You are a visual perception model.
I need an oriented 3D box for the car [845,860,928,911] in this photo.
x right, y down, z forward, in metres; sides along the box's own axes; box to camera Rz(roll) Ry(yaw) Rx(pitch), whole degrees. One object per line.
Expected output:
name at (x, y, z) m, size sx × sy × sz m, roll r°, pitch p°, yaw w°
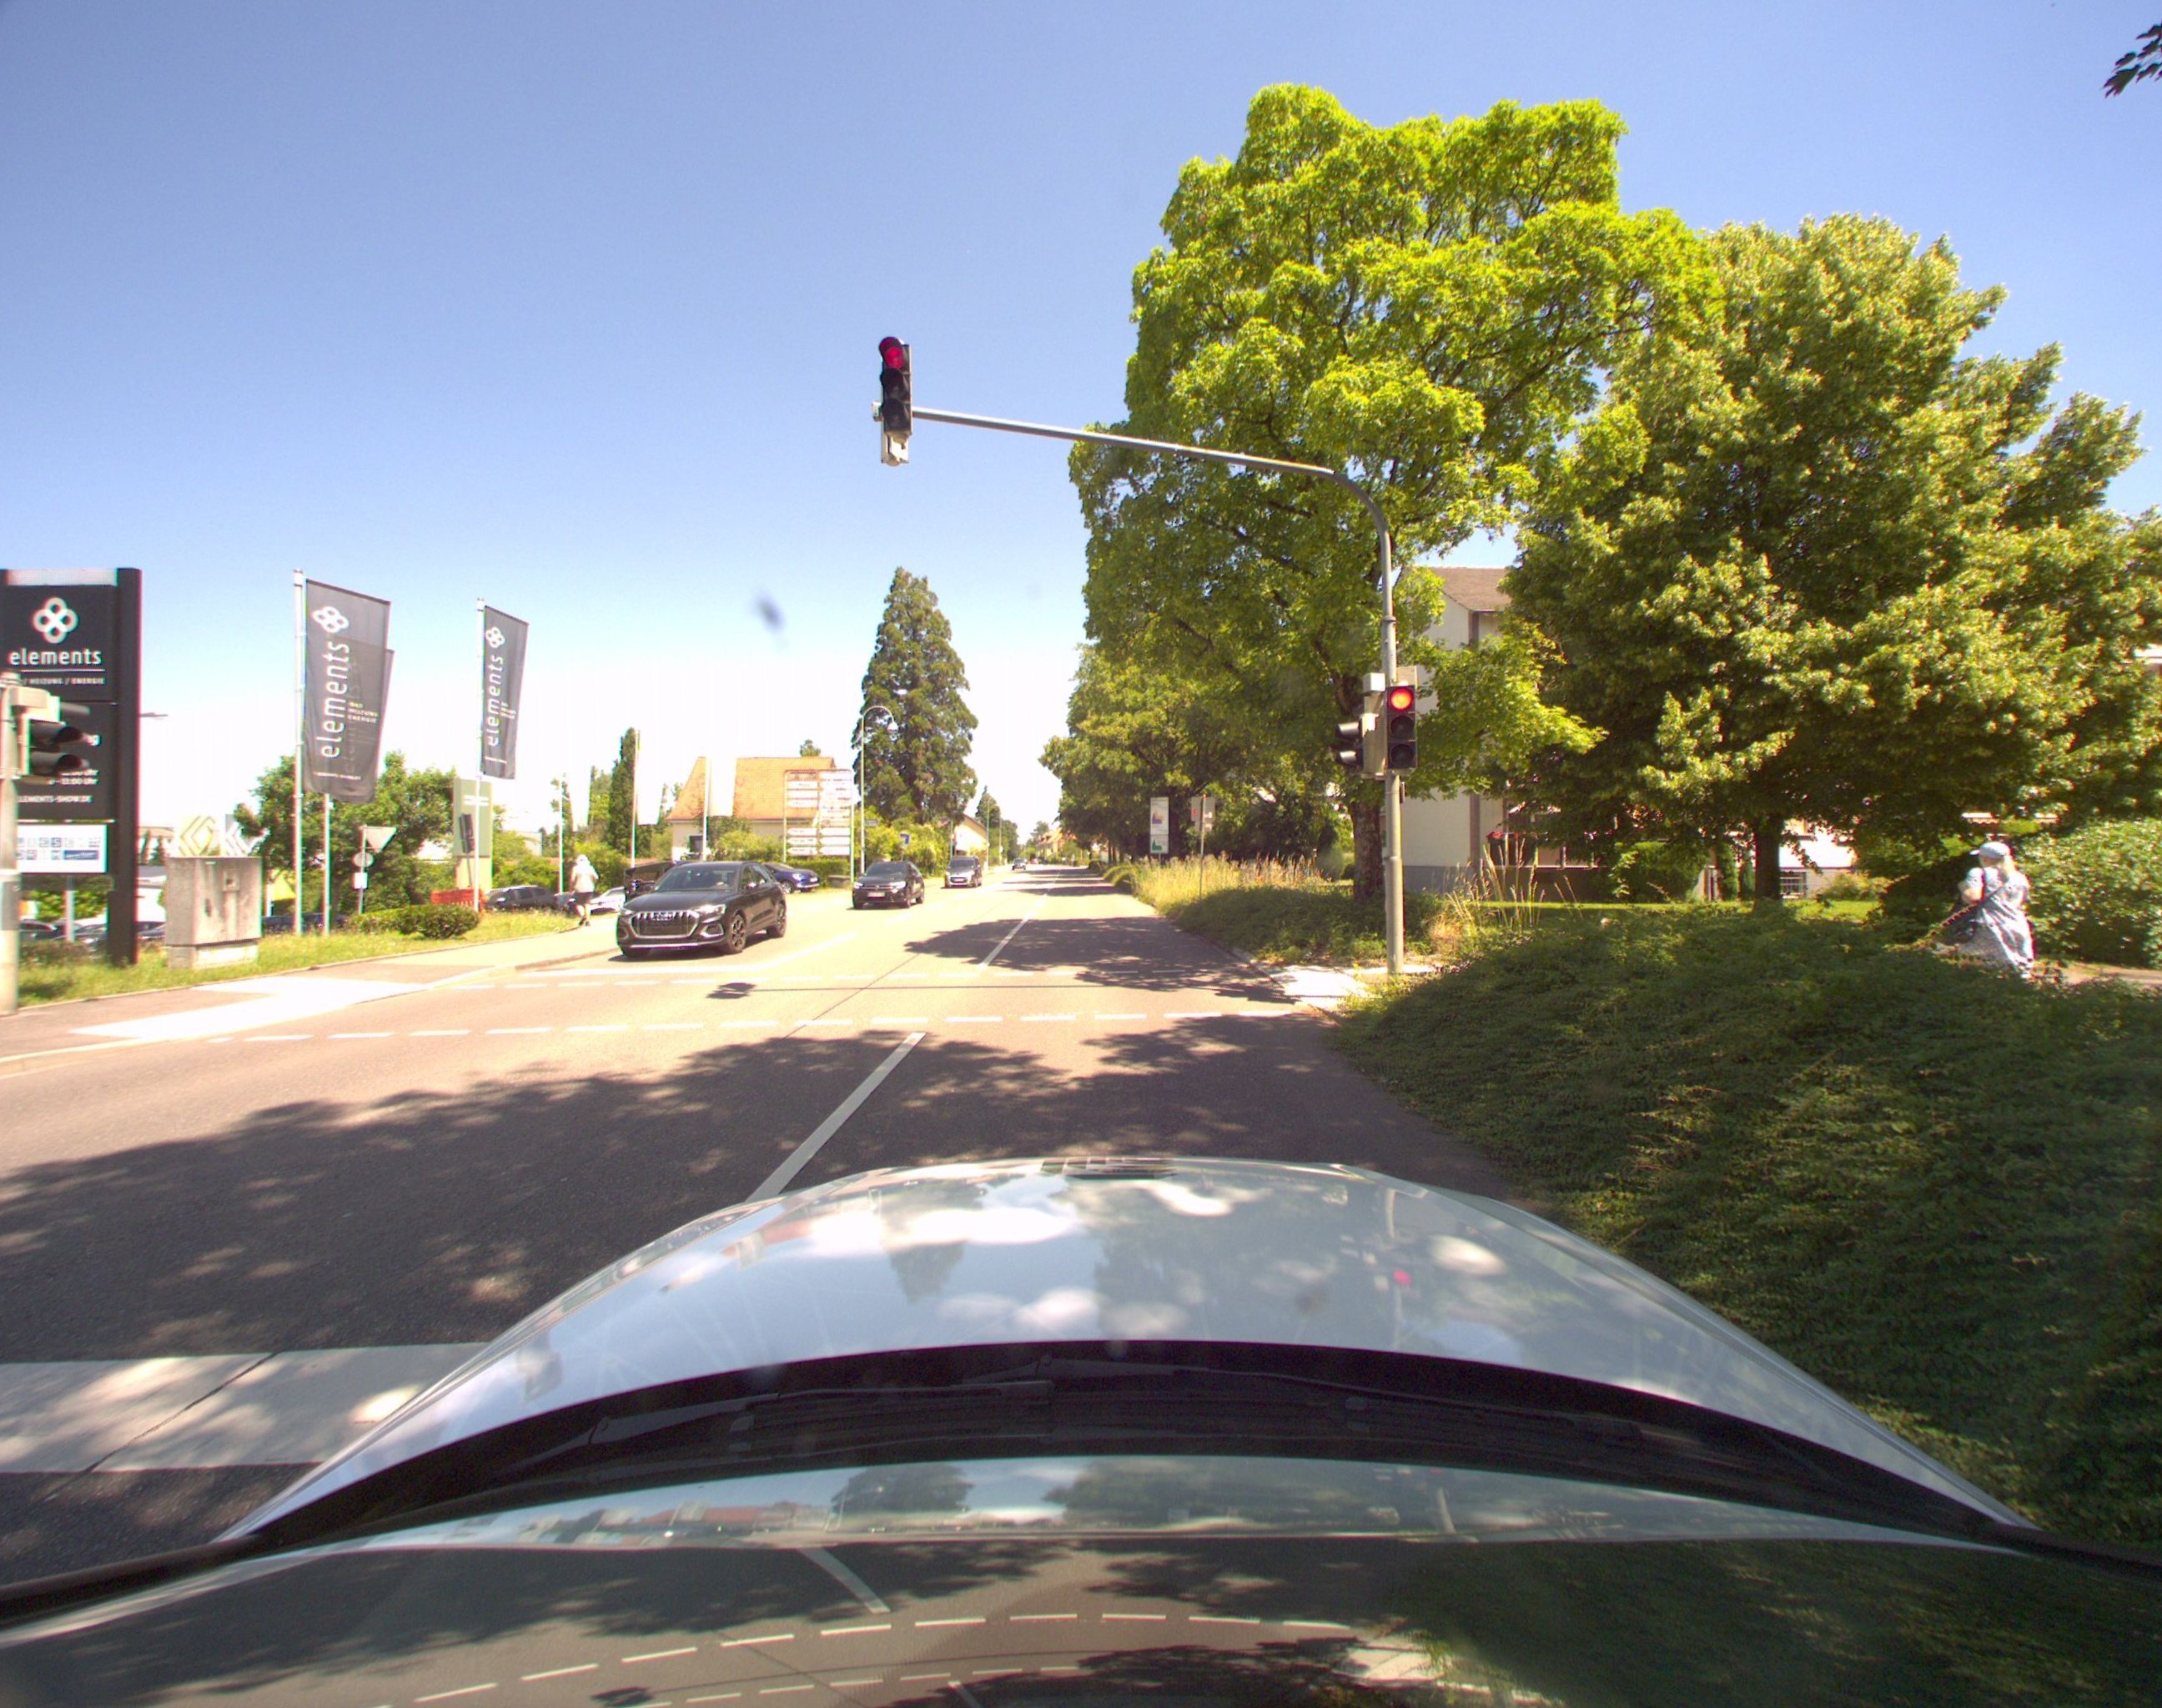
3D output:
car at (-6.292, 0.963, 26.832) m, size 1.864 × 1.507 × 4.049 m, roll -1°, pitch 0°, yaw -2°

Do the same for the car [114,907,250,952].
car at (-37.157, 3.085, 33.806) m, size 1.754 × 1.486 × 3.983 m, roll -1°, pitch 0°, yaw -12°

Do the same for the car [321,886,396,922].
car at (-39.537, 2.670, 44.698) m, size 1.816 × 1.722 × 4.059 m, roll 0°, pitch 0°, yaw -22°

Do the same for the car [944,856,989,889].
car at (-6.420, 0.988, 46.216) m, size 1.804 × 1.762 × 4.571 m, roll -1°, pitch 0°, yaw 1°

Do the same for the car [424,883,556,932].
car at (-23.836, 2.110, 33.044) m, size 1.795 × 1.722 × 4.106 m, roll -1°, pitch 0°, yaw 16°

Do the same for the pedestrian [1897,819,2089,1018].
pedestrian at (8.029, 0.534, 7.210) m, size 0.717 × 1.633 × 0.849 m, roll -1°, pitch -1°, yaw -7°

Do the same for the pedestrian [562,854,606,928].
pedestrian at (-11.983, 0.878, 19.649) m, size 0.538 × 1.761 × 0.706 m, roll -1°, pitch -1°, yaw 28°

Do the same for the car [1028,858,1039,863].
car at (-12.963, 1.886, 222.198) m, size 1.948 × 1.359 × 4.438 m, roll -1°, pitch 0°, yaw -16°

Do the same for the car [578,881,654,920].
car at (-23.395, 2.286, 41.155) m, size 1.806 × 1.722 × 4.081 m, roll 0°, pitch 0°, yaw -6°

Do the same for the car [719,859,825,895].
car at (-13.906, 1.033, 36.732) m, size 4.109 × 1.504 × 1.782 m, roll -1°, pitch 0°, yaw 10°

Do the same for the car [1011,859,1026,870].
car at (-8.590, 1.453, 112.034) m, size 1.788 × 1.536 × 4.313 m, roll -1°, pitch 0°, yaw -1°

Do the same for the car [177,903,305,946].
car at (-34.507, 2.860, 33.601) m, size 1.647 × 1.415 × 3.856 m, roll -1°, pitch 0°, yaw -9°

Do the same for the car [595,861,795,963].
car at (-6.870, 0.934, 15.068) m, size 1.923 × 1.555 × 4.295 m, roll -1°, pitch 0°, yaw -5°
